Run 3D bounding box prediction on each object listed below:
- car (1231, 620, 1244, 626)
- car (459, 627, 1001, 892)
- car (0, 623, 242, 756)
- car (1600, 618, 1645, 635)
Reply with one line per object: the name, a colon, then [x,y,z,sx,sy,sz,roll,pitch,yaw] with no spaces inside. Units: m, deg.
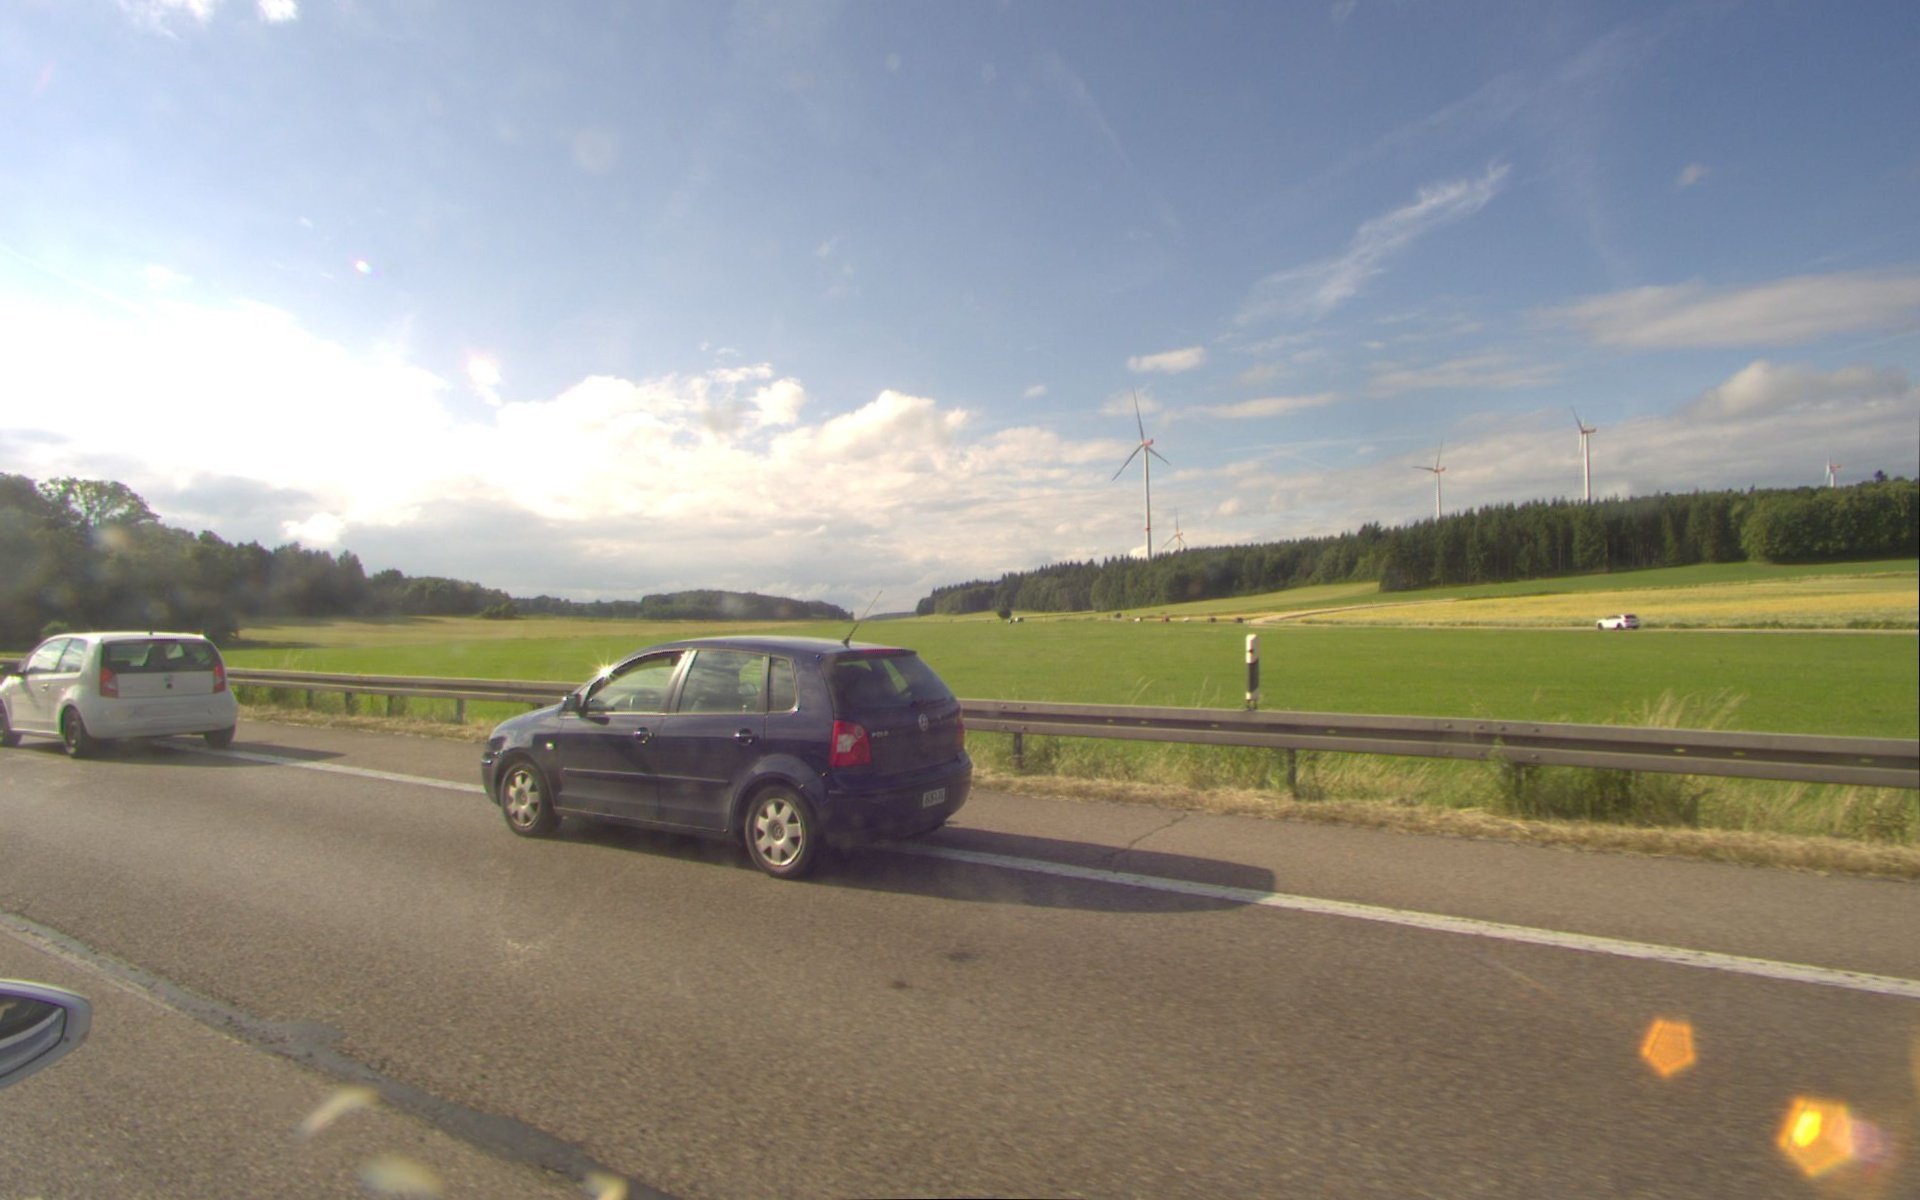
car: [69.780,5.700,251.947,1.803,1.505,4.222,0,-2,-5]
car: [-1.736,0.951,7.249,3.720,1.464,1.707,-2,-2,32]
car: [-10.956,1.060,12.941,3.328,1.514,1.547,0,-1,31]
car: [68.377,2.741,103.428,1.961,1.638,4.002,0,-2,-1]
